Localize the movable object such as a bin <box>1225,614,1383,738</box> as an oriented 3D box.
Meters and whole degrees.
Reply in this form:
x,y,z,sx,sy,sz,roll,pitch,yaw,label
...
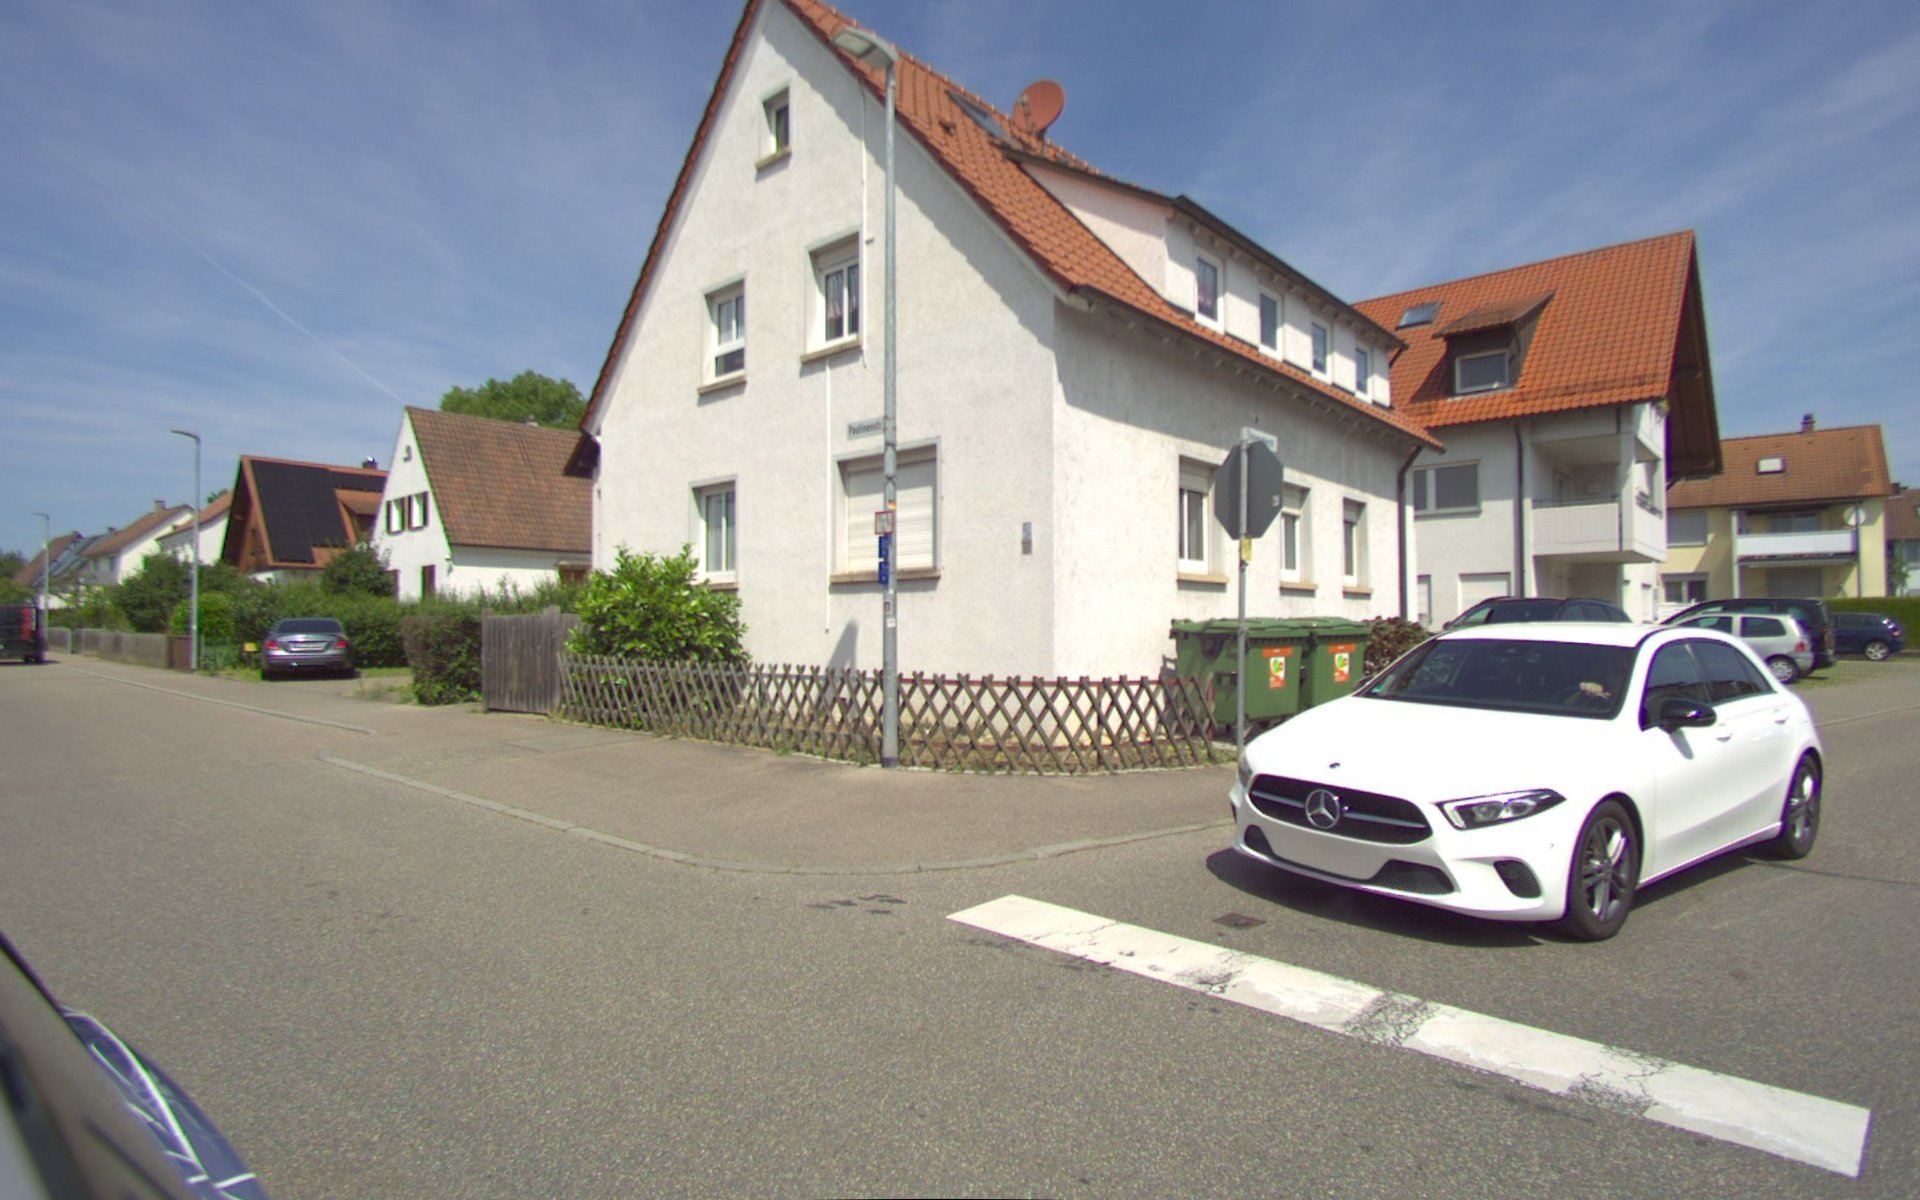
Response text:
x,y,z,sx,sy,sz,roll,pitch,yaw,label
4.083,0.848,12.039,1.247,1.346,1.315,0,0,-40,movable object such as a bin

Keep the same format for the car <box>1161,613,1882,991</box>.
x,y,z,sx,sy,sz,roll,pitch,yaw,label
3.432,0.791,5.882,4.420,1.408,1.934,0,-1,-35,car

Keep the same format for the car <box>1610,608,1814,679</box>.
x,y,z,sx,sy,sz,roll,pitch,yaw,label
15.995,0.908,21.615,3.377,1.410,1.311,-1,-2,42,car

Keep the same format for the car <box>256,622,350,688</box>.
x,y,z,sx,sy,sz,roll,pitch,yaw,label
-16.161,1.287,25.012,1.802,1.443,4.576,0,-1,-32,car

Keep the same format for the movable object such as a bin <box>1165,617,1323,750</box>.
x,y,z,sx,sy,sz,roll,pitch,yaw,label
3.110,0.856,11.108,1.247,1.323,1.168,0,0,-40,movable object such as a bin

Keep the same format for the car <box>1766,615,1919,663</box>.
x,y,z,sx,sy,sz,roll,pitch,yaw,label
27.596,1.184,31.690,3.659,1.400,1.446,-1,0,40,car

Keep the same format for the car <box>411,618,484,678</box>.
x,y,z,sx,sy,sz,roll,pitch,yaw,label
-13.963,1.249,27.576,1.665,1.513,3.663,0,-1,-27,car

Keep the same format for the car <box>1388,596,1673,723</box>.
x,y,z,sx,sy,sz,roll,pitch,yaw,label
8.385,0.767,14.796,4.205,1.559,1.796,0,2,-32,car

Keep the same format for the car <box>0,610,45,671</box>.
x,y,z,sx,sy,sz,roll,pitch,yaw,label
-32.577,1.330,34.243,4.695,1.966,1.947,-1,-2,42,car

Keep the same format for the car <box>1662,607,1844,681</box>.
x,y,z,sx,sy,sz,roll,pitch,yaw,label
17.922,0.941,22.959,1.212,1.536,3.130,1,0,-45,car
